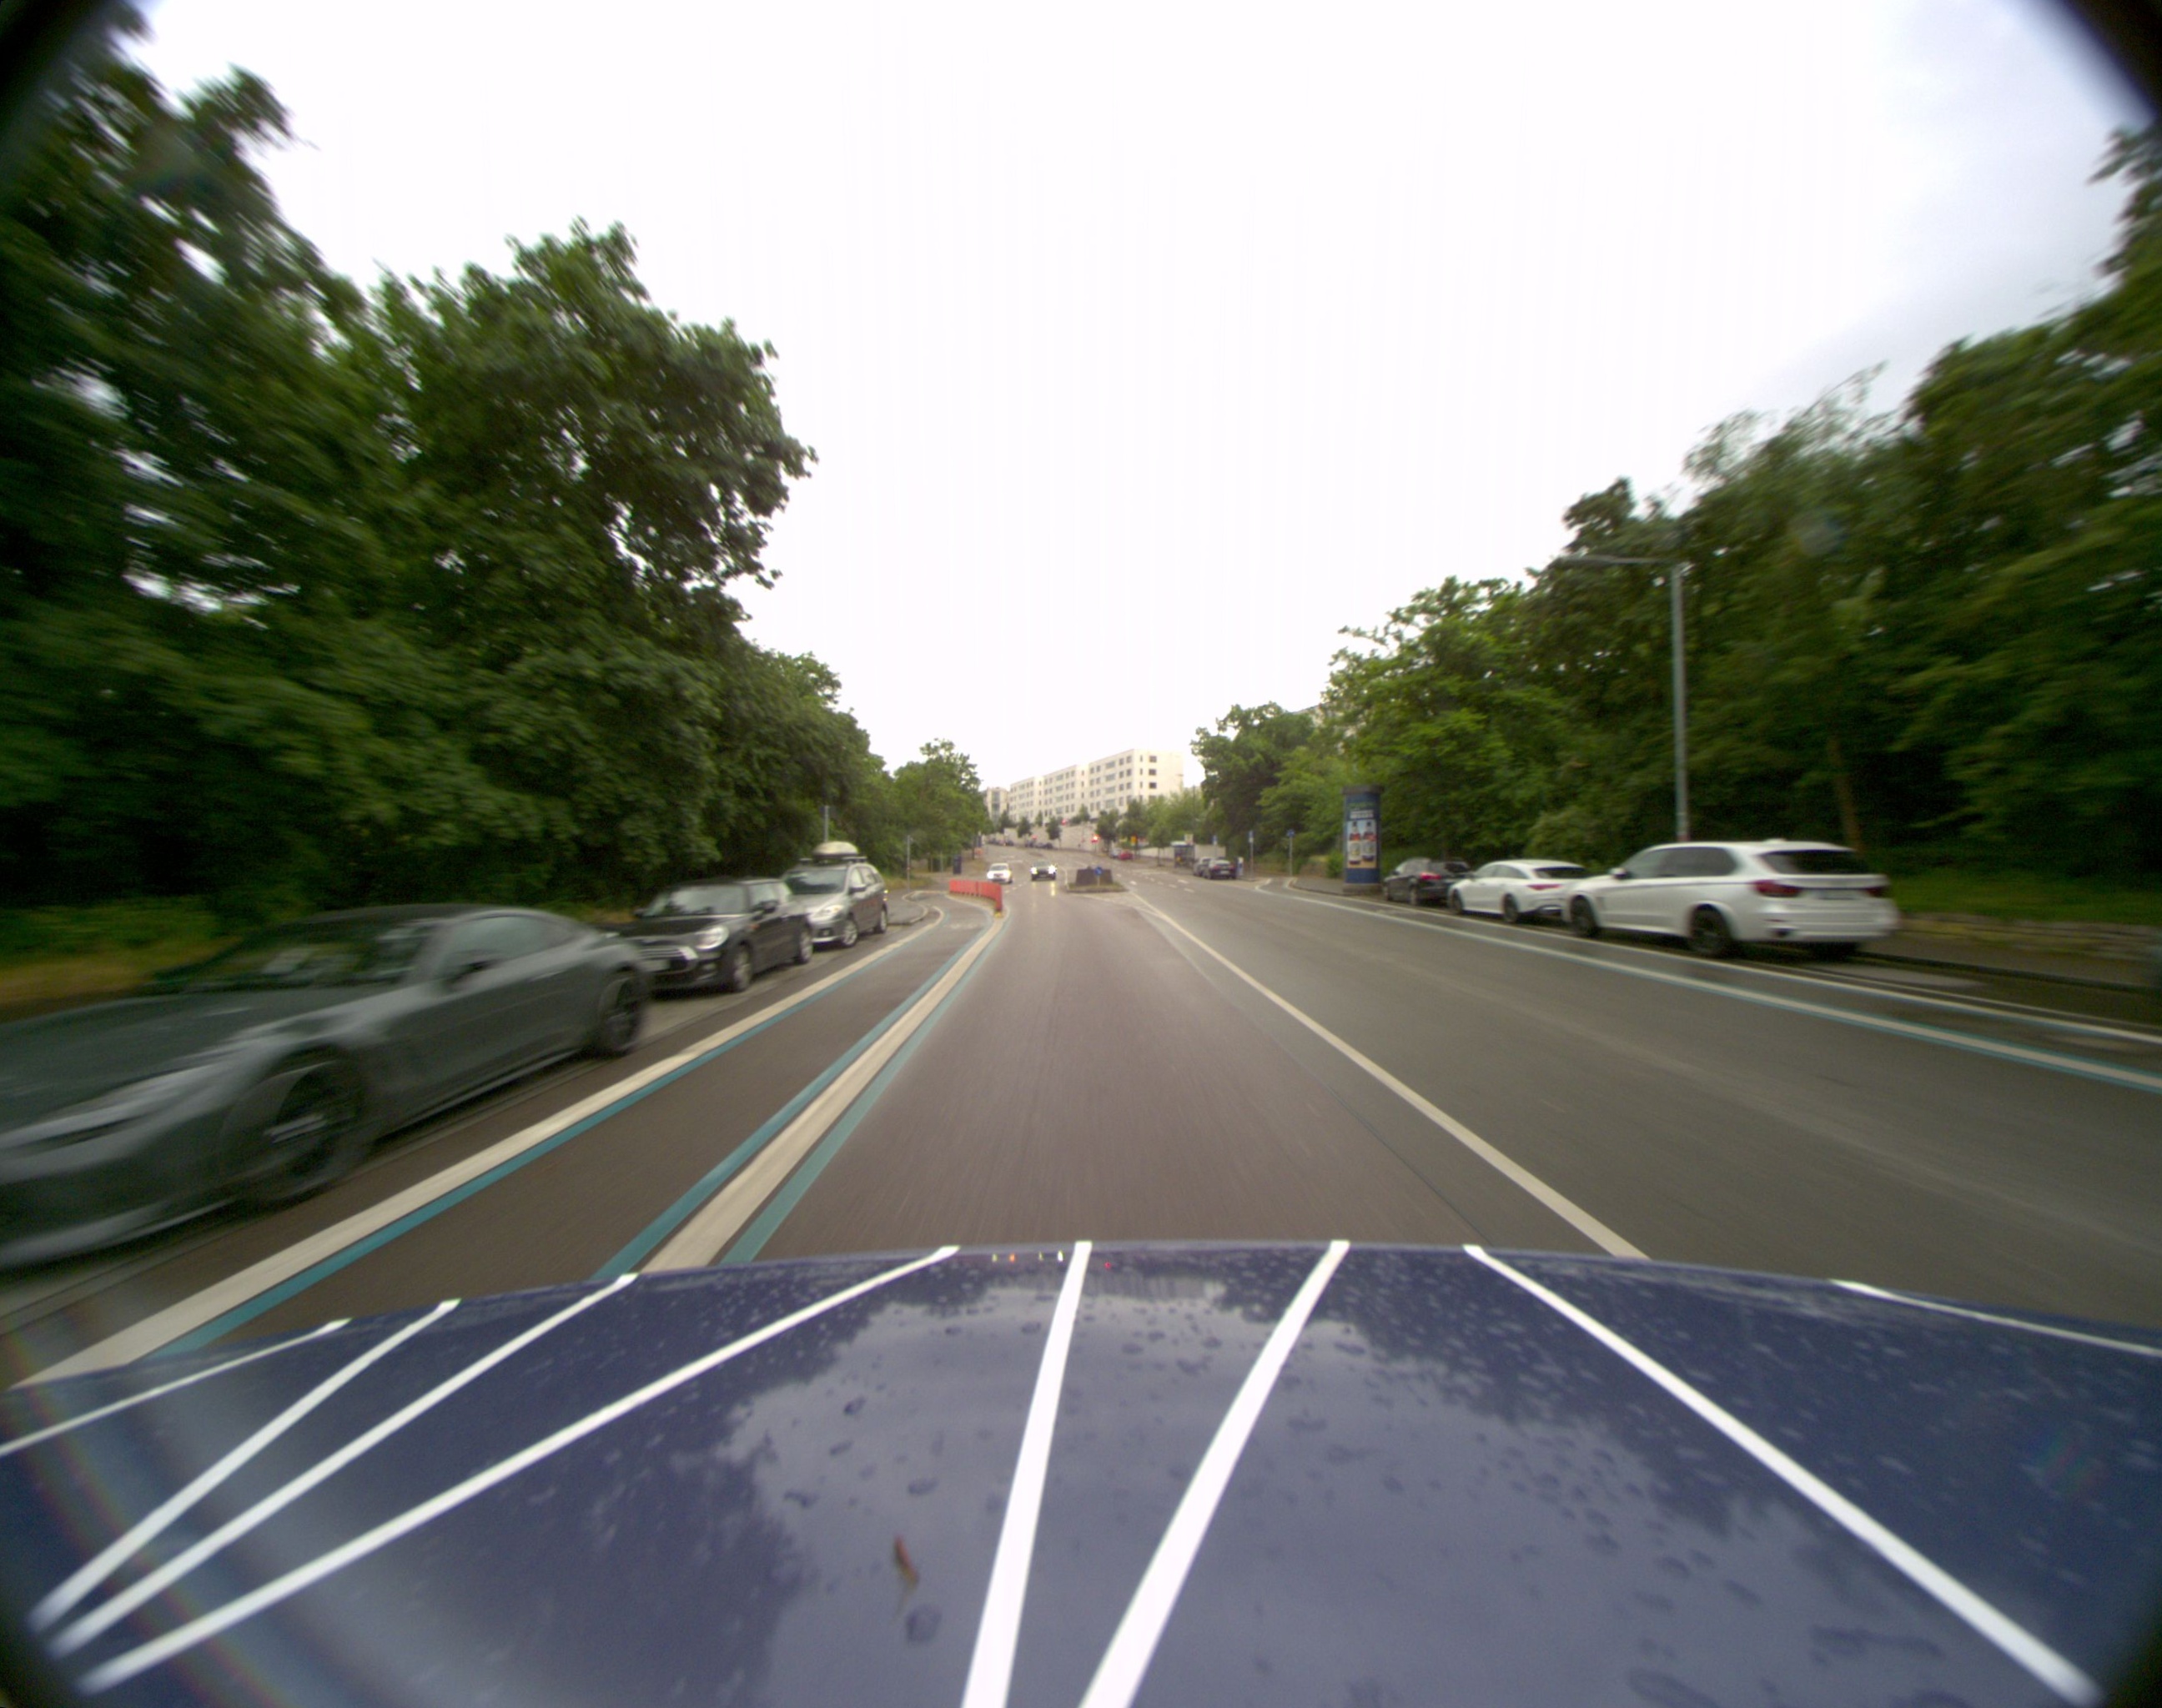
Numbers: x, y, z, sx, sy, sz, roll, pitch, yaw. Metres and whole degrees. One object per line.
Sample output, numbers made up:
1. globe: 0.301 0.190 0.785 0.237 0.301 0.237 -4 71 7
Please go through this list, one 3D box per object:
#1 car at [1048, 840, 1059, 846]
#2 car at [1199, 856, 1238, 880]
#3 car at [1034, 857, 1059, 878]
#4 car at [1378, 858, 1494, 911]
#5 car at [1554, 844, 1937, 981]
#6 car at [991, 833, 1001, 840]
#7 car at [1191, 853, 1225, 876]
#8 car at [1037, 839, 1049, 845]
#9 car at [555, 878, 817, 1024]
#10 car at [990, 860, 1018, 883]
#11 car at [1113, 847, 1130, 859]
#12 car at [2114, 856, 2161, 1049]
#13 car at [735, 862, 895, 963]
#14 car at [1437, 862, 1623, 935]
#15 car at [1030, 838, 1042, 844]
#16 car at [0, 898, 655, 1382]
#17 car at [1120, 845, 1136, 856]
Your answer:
1. car: -6.752 -2.670 185.333 1.683 1.451 2.689 0 2 -24
2. car: 9.508 0.956 52.858 1.911 1.406 4.782 -2 1 1
3. car: -2.930 1.105 63.625 1.830 1.584 3.998 -2 1 -5
4. car: 10.944 0.882 23.829 1.753 1.436 4.588 -1 0 4
5. car: 10.241 0.754 12.425 1.998 1.755 4.960 -1 0 1
6. car: -25.489 -5.123 228.245 1.927 2.002 4.378 -2 1 -21
7. car: 9.845 0.749 59.164 1.845 1.580 4.928 -2 1 1
8. car: -9.537 -3.067 190.229 1.866 1.470 3.991 -1 2 -24
9. car: -5.055 1.142 10.356 1.701 1.404 3.702 -3 0 -3
10. car: -5.870 1.286 58.259 1.927 1.652 3.999 -1 0 -3
11. car: 6.366 -0.150 120.339 1.769 1.644 4.879 -2 2 -7
12. car: 10.104 0.819 4.487 1.736 1.639 4.570 -2 0 -1
13. car: -5.152 1.032 15.357 1.827 1.605 4.250 -3 0 -3
14. car: 10.453 0.947 18.181 1.722 1.451 4.708 -1 0 1
15. car: -11.558 -3.373 194.774 1.792 1.623 3.990 0 2 -24
16. car: -4.727 1.135 4.647 1.858 1.391 4.384 -2 0 -2
17. car: 7.001 -0.540 114.390 1.670 1.578 4.213 0 2 -7
